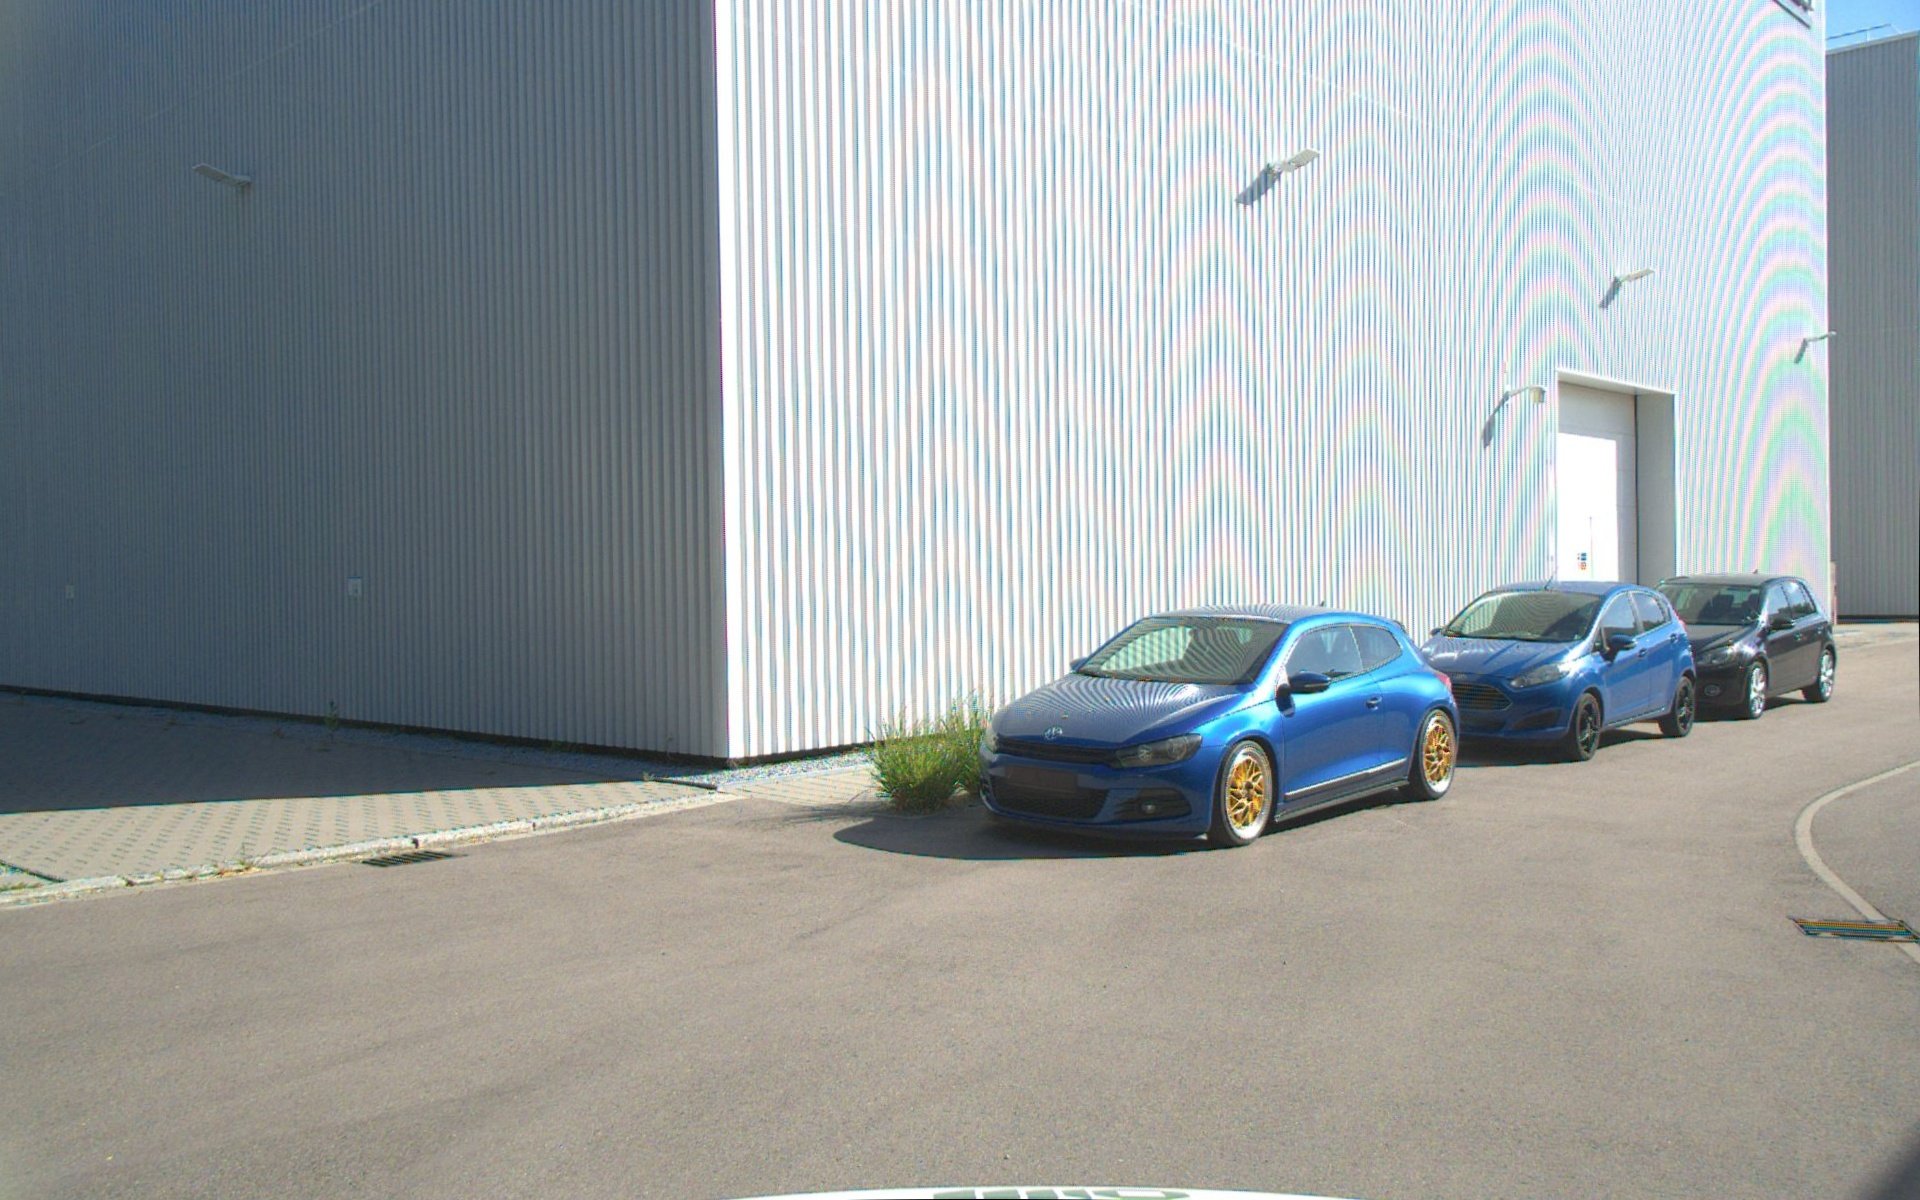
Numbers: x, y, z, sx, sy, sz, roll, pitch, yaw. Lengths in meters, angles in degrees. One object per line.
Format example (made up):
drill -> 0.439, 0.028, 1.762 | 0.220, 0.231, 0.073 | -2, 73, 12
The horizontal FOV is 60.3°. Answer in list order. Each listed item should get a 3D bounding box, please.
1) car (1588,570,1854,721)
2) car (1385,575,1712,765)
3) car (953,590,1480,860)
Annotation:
car -> 8.745, 0.428, 18.870 | 1.627, 1.471, 3.853 | 3, 3, 43
car -> 5.495, 0.532, 15.198 | 1.595, 1.472, 3.743 | 1, 2, 41
car -> 1.859, 0.673, 11.052 | 1.644, 1.373, 3.931 | 1, 2, 42
